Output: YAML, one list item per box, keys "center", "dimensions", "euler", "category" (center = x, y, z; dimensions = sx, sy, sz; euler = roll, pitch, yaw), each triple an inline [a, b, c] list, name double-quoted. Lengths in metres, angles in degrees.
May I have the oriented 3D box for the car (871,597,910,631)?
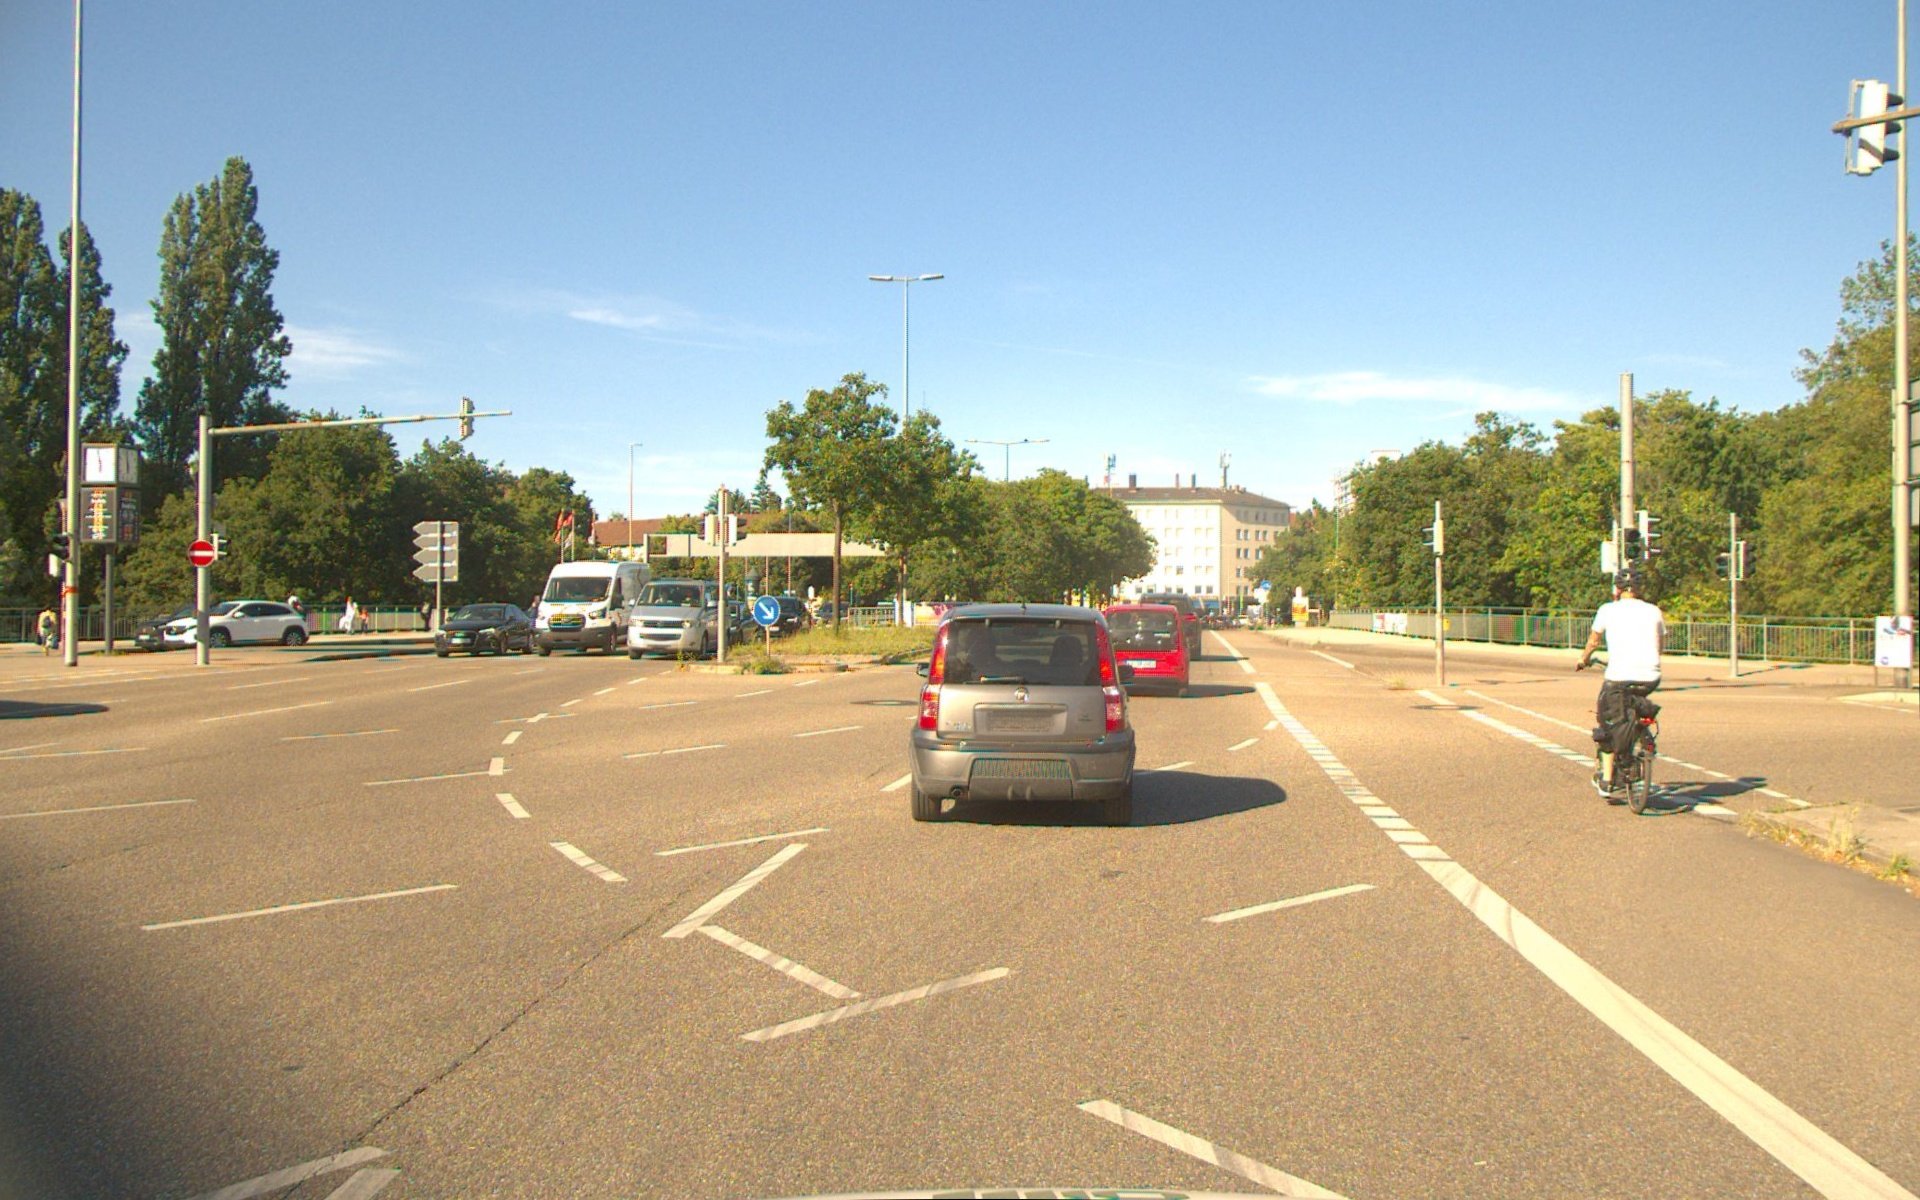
- center: [-4.322, 0.897, 103.056]
  dimensions: [1.952, 2.049, 4.336]
  euler: [0, -1, 3]
  category: "car"

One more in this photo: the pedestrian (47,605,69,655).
- center: [-28.775, 0.952, 52.757]
  dimensions: [0.551, 1.575, 0.569]
  euler: [0, -2, -35]
  category: "pedestrian"

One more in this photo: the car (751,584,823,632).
- center: [-6.145, 0.292, 59.182]
  dimensions: [1.896, 1.651, 4.507]
  euler: [0, 0, 3]
  category: "car"

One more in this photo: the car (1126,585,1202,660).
- center: [5.527, 0.614, 44.600]
  dimensions: [1.904, 1.872, 4.155]
  euler: [2, -1, 8]
  category: "car"

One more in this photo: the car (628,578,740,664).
- center: [-6.905, 0.515, 41.907]
  dimensions: [1.896, 2.043, 4.932]
  euler: [0, 0, 1]
  category: "car"

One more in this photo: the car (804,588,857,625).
- center: [-5.949, 0.299, 76.481]
  dimensions: [1.896, 1.651, 4.507]
  euler: [0, 0, 3]
  category: "car"

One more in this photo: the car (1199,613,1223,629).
- center: [28.030, 2.364, 184.686]
  dimensions: [1.827, 1.710, 3.908]
  euler: [1, -2, 22]
  category: "car"

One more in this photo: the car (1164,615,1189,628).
- center: [25.714, 2.514, 196.529]
  dimensions: [1.906, 1.555, 4.096]
  euler: [0, 0, 23]
  category: "car"

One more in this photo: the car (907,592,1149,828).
- center: [0.511, 0.733, 12.909]
  dimensions: [1.584, 1.542, 3.820]
  euler: [1, 0, 2]
  category: "car"

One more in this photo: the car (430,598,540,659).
- center: [-12.857, 0.744, 44.988]
  dimensions: [1.897, 1.534, 3.999]
  euler: [-1, 0, -1]
  category: "car"

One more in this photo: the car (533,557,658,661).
- center: [-9.752, 0.243, 44.769]
  dimensions: [1.896, 2.621, 6.089]
  euler: [0, 0, 1]
  category: "car"

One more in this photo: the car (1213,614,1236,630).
- center: [30.720, 2.598, 191.976]
  dimensions: [1.827, 1.710, 3.908]
  euler: [1, -2, 21]
  category: "car"

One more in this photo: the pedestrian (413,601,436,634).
- center: [-25.594, 0.824, 79.071]
  dimensions: [0.656, 1.529, 0.779]
  euler: [0, -3, 21]
  category: "pedestrian"

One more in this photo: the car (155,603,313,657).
- center: [-22.521, 0.894, 51.482]
  dimensions: [1.746, 1.562, 4.320]
  euler: [1, 0, 30]
  category: "car"

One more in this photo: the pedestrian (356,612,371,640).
- center: [-25.028, 1.107, 69.408]
  dimensions: [0.414, 1.156, 0.398]
  euler: [1, -2, 6]
  category: "pedestrian"

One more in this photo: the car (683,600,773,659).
- center: [-6.784, 0.827, 48.705]
  dimensions: [1.896, 1.651, 4.506]
  euler: [0, 0, 1]
  category: "car"

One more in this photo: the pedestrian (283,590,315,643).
- center: [-26.129, 0.650, 65.379]
  dimensions: [0.789, 2.032, 0.788]
  euler: [1, -2, 6]
  category: "pedestrian"

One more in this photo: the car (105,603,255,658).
- center: [-25.361, 1.015, 53.887]
  dimensions: [1.861, 1.654, 3.989]
  euler: [0, -3, 32]
  category: "car"

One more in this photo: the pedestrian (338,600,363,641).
- center: [-25.616, 0.870, 69.528]
  dimensions: [0.705, 1.670, 0.673]
  euler: [1, -2, 6]
  category: "pedestrian"

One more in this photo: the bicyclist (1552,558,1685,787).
- center: [5.125, 0.542, 12.930]
  dimensions: [0.708, 1.688, 1.114]
  euler: [1, -1, 9]
  category: "bicyclist"

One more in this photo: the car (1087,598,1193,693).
- center: [3.015, 0.730, 28.269]
  dimensions: [1.583, 1.488, 3.752]
  euler: [1, 0, 3]
  category: "car"

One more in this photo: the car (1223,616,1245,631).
- center: [33.039, 2.814, 199.260]
  dimensions: [1.828, 1.710, 3.907]
  euler: [0, -3, 23]
  category: "car"

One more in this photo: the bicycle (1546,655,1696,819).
- center: [5.104, 1.017, 12.879]
  dimensions: [0.676, 1.121, 1.827]
  euler: [1, 0, 9]
  category: "bicycle"

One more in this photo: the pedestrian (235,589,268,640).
- center: [-27.543, 0.570, 64.295]
  dimensions: [0.818, 1.951, 0.788]
  euler: [1, -2, 6]
  category: "pedestrian"
